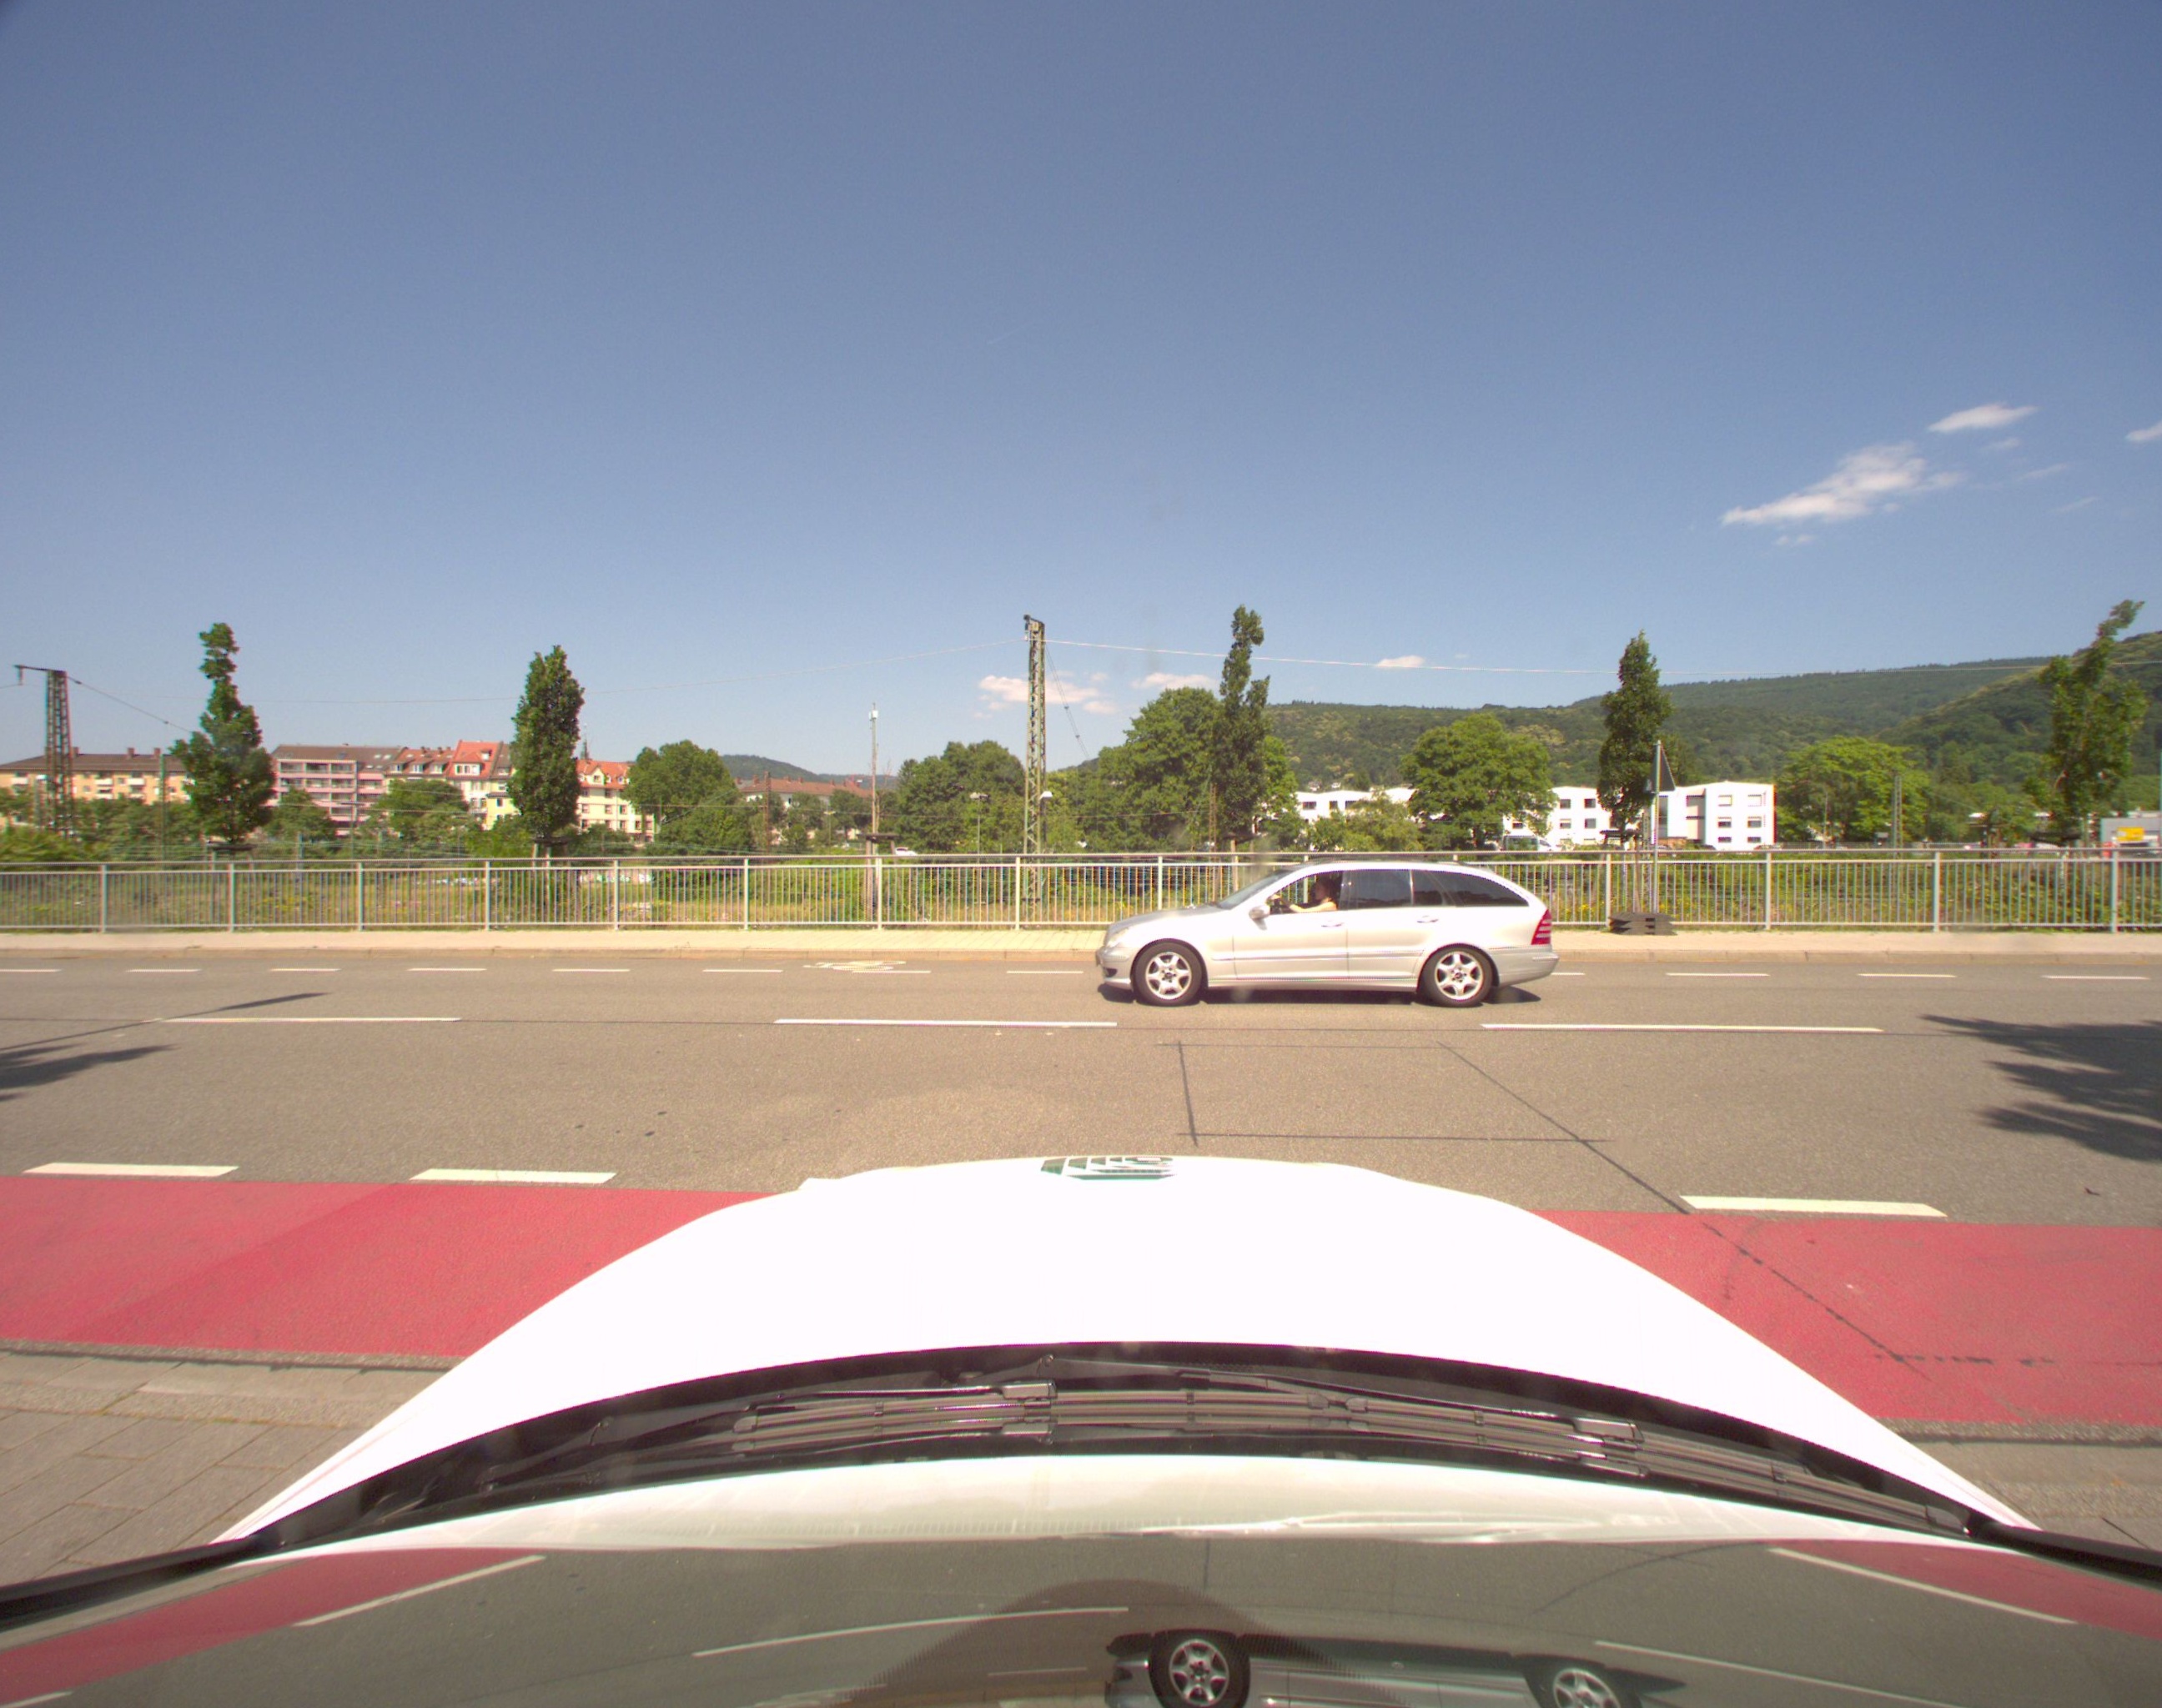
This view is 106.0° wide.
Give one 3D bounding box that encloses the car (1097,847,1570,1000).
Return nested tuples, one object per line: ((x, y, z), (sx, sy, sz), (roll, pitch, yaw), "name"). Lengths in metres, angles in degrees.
((2.404, 0.668, 8.512), (4.352, 1.404, 1.716), (0, -1, 4), "car")

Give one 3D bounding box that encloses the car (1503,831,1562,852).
((51.605, -1.432, 93.214), (5.460, 2.103, 2.143), (-2, -4, 15), "car")

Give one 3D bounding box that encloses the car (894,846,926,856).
((-23.912, -0.392, 113.567), (4.260, 1.367, 1.878), (0, 1, 33), "car")
